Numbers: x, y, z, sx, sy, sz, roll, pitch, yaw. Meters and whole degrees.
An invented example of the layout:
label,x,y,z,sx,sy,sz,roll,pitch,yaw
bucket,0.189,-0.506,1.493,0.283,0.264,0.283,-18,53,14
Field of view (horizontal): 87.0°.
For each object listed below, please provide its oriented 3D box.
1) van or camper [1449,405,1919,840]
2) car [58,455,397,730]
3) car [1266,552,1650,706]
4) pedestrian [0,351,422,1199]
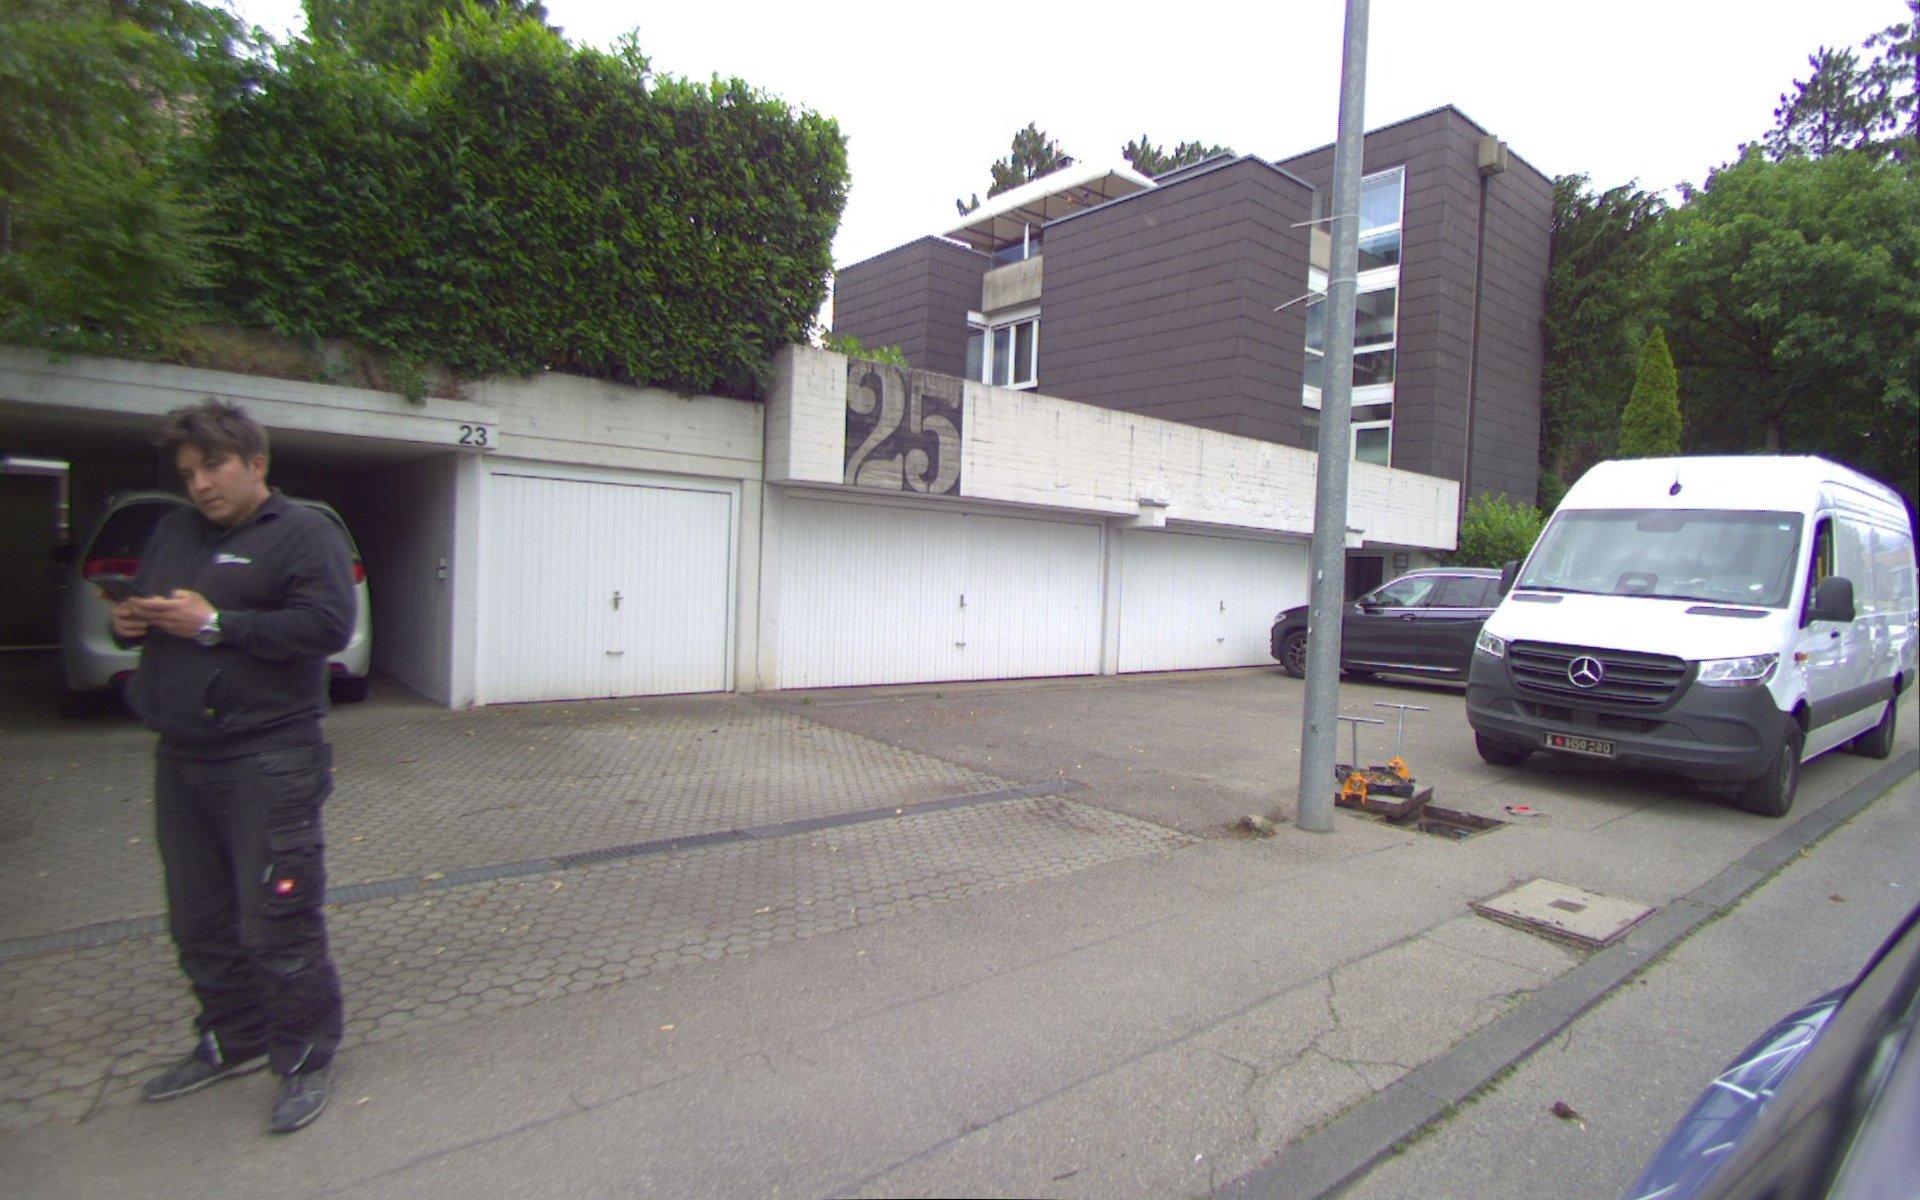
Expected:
label,x,y,z,sx,sy,sz,roll,pitch,yaw
van or camper,6.913,0.049,8.994,6.428,2.656,1.996,0,5,-40
car,-6.466,-0.156,8.814,1.965,1.810,3.996,0,3,-41
car,6.600,0.255,13.886,1.665,1.695,4.394,0,3,-39
pedestrian,-1.844,0.362,2.525,0.644,1.773,0.648,2,2,29
